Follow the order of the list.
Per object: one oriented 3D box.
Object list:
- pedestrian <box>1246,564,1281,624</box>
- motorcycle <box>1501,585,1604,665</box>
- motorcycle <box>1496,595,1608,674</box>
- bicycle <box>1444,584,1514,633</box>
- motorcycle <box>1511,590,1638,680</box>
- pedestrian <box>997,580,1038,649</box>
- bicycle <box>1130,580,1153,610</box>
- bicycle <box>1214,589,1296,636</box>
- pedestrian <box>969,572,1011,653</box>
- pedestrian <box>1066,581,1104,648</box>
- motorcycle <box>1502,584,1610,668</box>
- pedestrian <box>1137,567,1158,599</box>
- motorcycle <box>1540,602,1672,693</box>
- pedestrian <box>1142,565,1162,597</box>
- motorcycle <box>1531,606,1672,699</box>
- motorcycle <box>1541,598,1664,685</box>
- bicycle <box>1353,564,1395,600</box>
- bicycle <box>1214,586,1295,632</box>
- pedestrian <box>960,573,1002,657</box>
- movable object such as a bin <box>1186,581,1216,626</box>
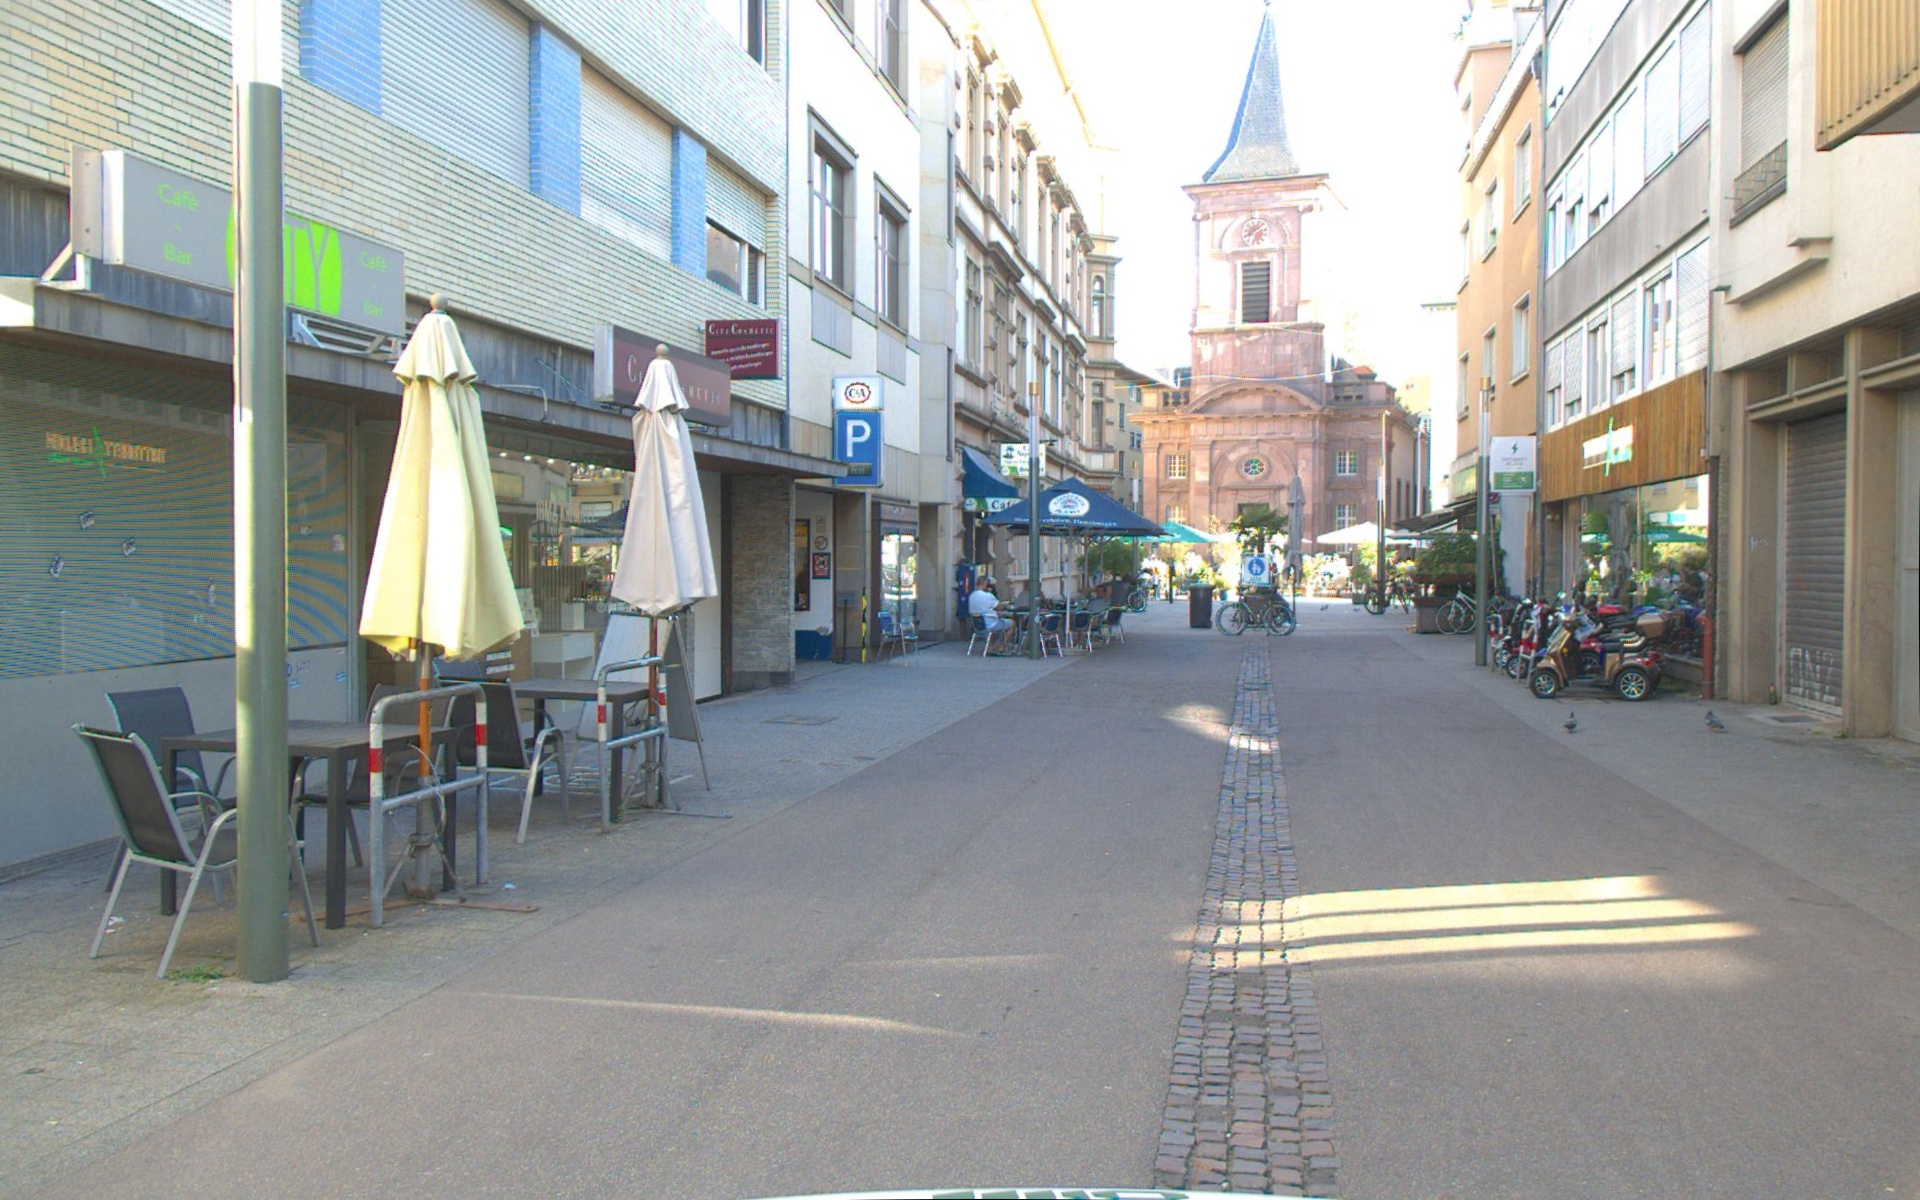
[{"bbox_3d":[7.650,-0.166,41.642,0.865,1.489,0.731,0,1,11],"label":"pedestrian"},{"bbox_3d":[9.059,0.374,25.284,1.454,1.202,0.412,0,1,26],"label":"motorcycle"},{"bbox_3d":[8.414,0.473,23.506,1.455,1.094,0.411,0,1,29],"label":"motorcycle"},{"bbox_3d":[11.266,0.175,35.930,1.432,1.022,0.573,0,1,17],"label":"bicycle"},{"bbox_3d":[8.422,0.460,22.683,1.593,1.195,0.480,0,1,29],"label":"motorcycle"},{"bbox_3d":[1.066,0.256,30.619,0.749,1.254,0.832,0,1,2],"label":"pedestrian"},{"bbox_3d":[5.473,-0.152,49.804,0.447,0.864,2.148,0,1,13],"label":"bicycle"},{"bbox_3d":[6.606,0.274,37.117,1.785,1.022,0.381,0,1,7],"label":"bicycle"},{"bbox_3d":[0.521,0.205,28.824,0.703,1.392,0.710,0,1,-2],"label":"pedestrian"},{"bbox_3d":[2.350,0.261,31.134,0.677,1.236,0.583,0,1,2],"label":"pedestrian"},{"bbox_3d":[8.728,0.377,24.233,1.454,1.202,0.412,0,1,26],"label":"motorcycle"},{"bbox_3d":[7.254,-0.651,64.001,0.685,1.239,0.720,0,1,16],"label":"pedestrian"},{"bbox_3d":[8.001,0.573,20.494,1.487,1.094,0.411,0,1,29],"label":"motorcycle"},{"bbox_3d":[7.607,-0.744,65.392,0.685,1.239,0.720,0,1,16],"label":"pedestrian"},{"bbox_3d":[7.634,0.611,19.717,1.534,1.060,0.372,0,1,29],"label":"motorcycle"},{"bbox_3d":[8.342,0.531,21.500,1.455,1.094,0.411,0,1,29],"label":"motorcycle"},{"bbox_3d":[15.510,-0.670,61.946,1.562,1.330,0.364,0,1,-19],"label":"bicycle"},{"bbox_3d":[6.677,0.193,37.508,1.785,1.022,0.381,0,1,7],"label":"bicycle"},{"bbox_3d":[0.350,0.241,27.832,0.693,1.392,0.720,0,1,-2],"label":"pedestrian"},{"bbox_3d":[5.928,0.091,40.687,0.706,1.093,0.374,0,1,9],"label":"movable object such as a bin"}]
